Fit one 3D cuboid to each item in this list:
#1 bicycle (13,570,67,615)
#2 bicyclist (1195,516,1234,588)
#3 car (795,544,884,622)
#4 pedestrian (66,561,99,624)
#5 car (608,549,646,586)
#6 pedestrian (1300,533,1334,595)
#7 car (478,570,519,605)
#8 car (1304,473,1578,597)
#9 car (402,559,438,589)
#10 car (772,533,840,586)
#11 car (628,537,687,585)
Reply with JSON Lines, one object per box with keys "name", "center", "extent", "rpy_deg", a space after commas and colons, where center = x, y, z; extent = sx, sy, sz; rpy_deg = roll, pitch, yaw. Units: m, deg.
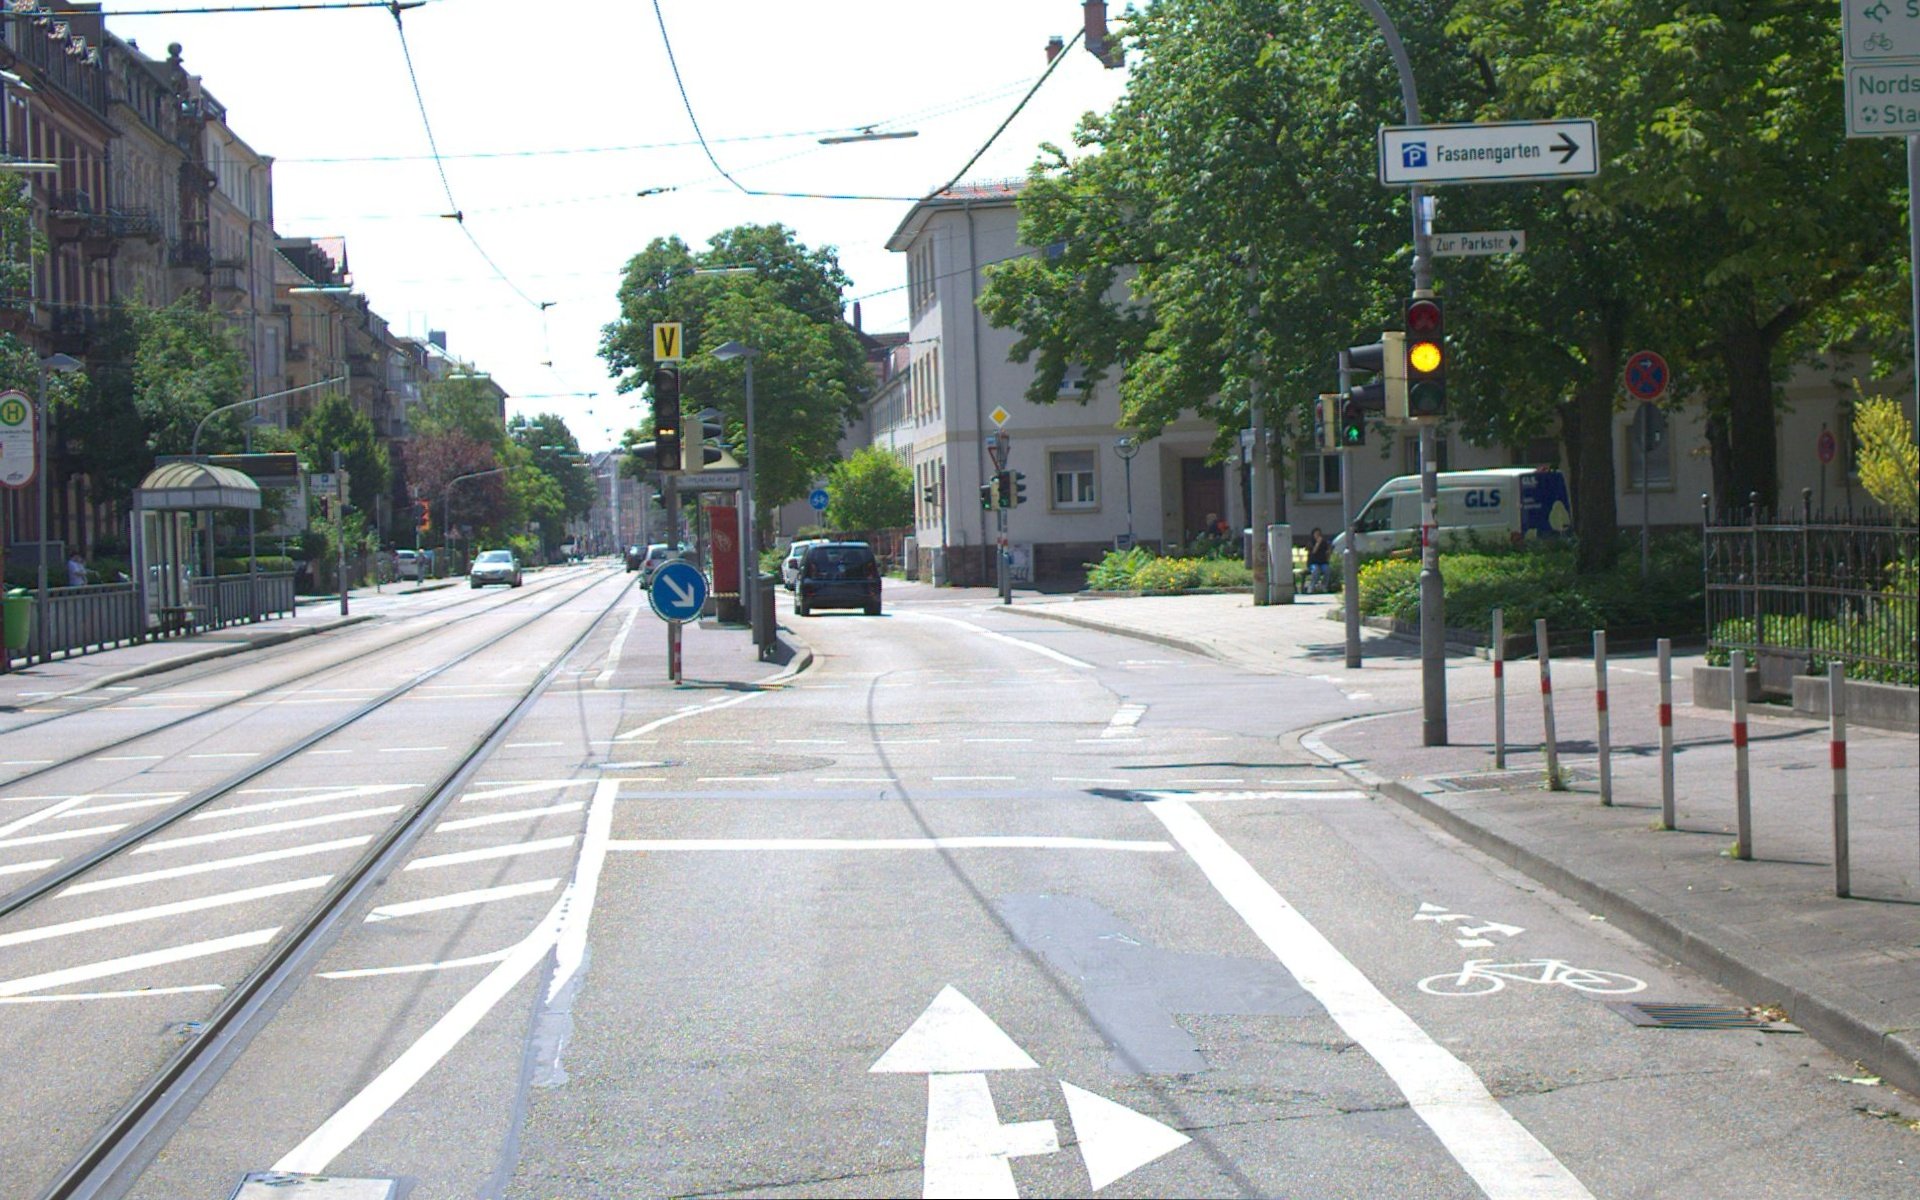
{"name": "bicycle", "center": [-24.384, -0.204, 91.152], "extent": [0.364, 1.165, 1.516], "rpy_deg": [1, 2, 33]}
{"name": "bicyclist", "center": [5.888, -1.114, 79.508], "extent": [0.694, 1.640, 0.579], "rpy_deg": [-1, 0, 28]}
{"name": "car", "center": [-2.434, -0.342, 69.005], "extent": [1.524, 1.439, 3.365], "rpy_deg": [-3, 1, -5]}
{"name": "pedestrian", "center": [-22.749, -0.195, 89.143], "extent": [0.469, 1.609, 0.652], "rpy_deg": [3, 3, 42]}
{"name": "car", "center": [-18.491, -1.787, 190.874], "extent": [2.046, 2.007, 4.607], "rpy_deg": [-1, 0, -5]}
{"name": "pedestrian", "center": [6.445, -0.648, 62.014], "extent": [0.509, 1.088, 0.478], "rpy_deg": [-3, 2, 1]}
{"name": "car", "center": [-18.062, -0.502, 134.671], "extent": [1.540, 1.334, 3.720], "rpy_deg": [-1, 0, -7]}
{"name": "car", "center": [10.384, -1.390, 74.630], "extent": [1.995, 2.581, 5.847], "rpy_deg": [-2, 1, -45]}
{"name": "car", "center": [-28.633, -1.378, 182.272], "extent": [1.684, 1.467, 3.939], "rpy_deg": [-5, 1, -8]}
{"name": "car", "center": [-4.753, -1.224, 105.646], "extent": [1.747, 1.467, 3.939], "rpy_deg": [-5, 1, -6]}
{"name": "car", "center": [-9.916, -1.264, 112.611], "extent": [1.524, 1.451, 3.365], "rpy_deg": [-3, 1, -10]}
